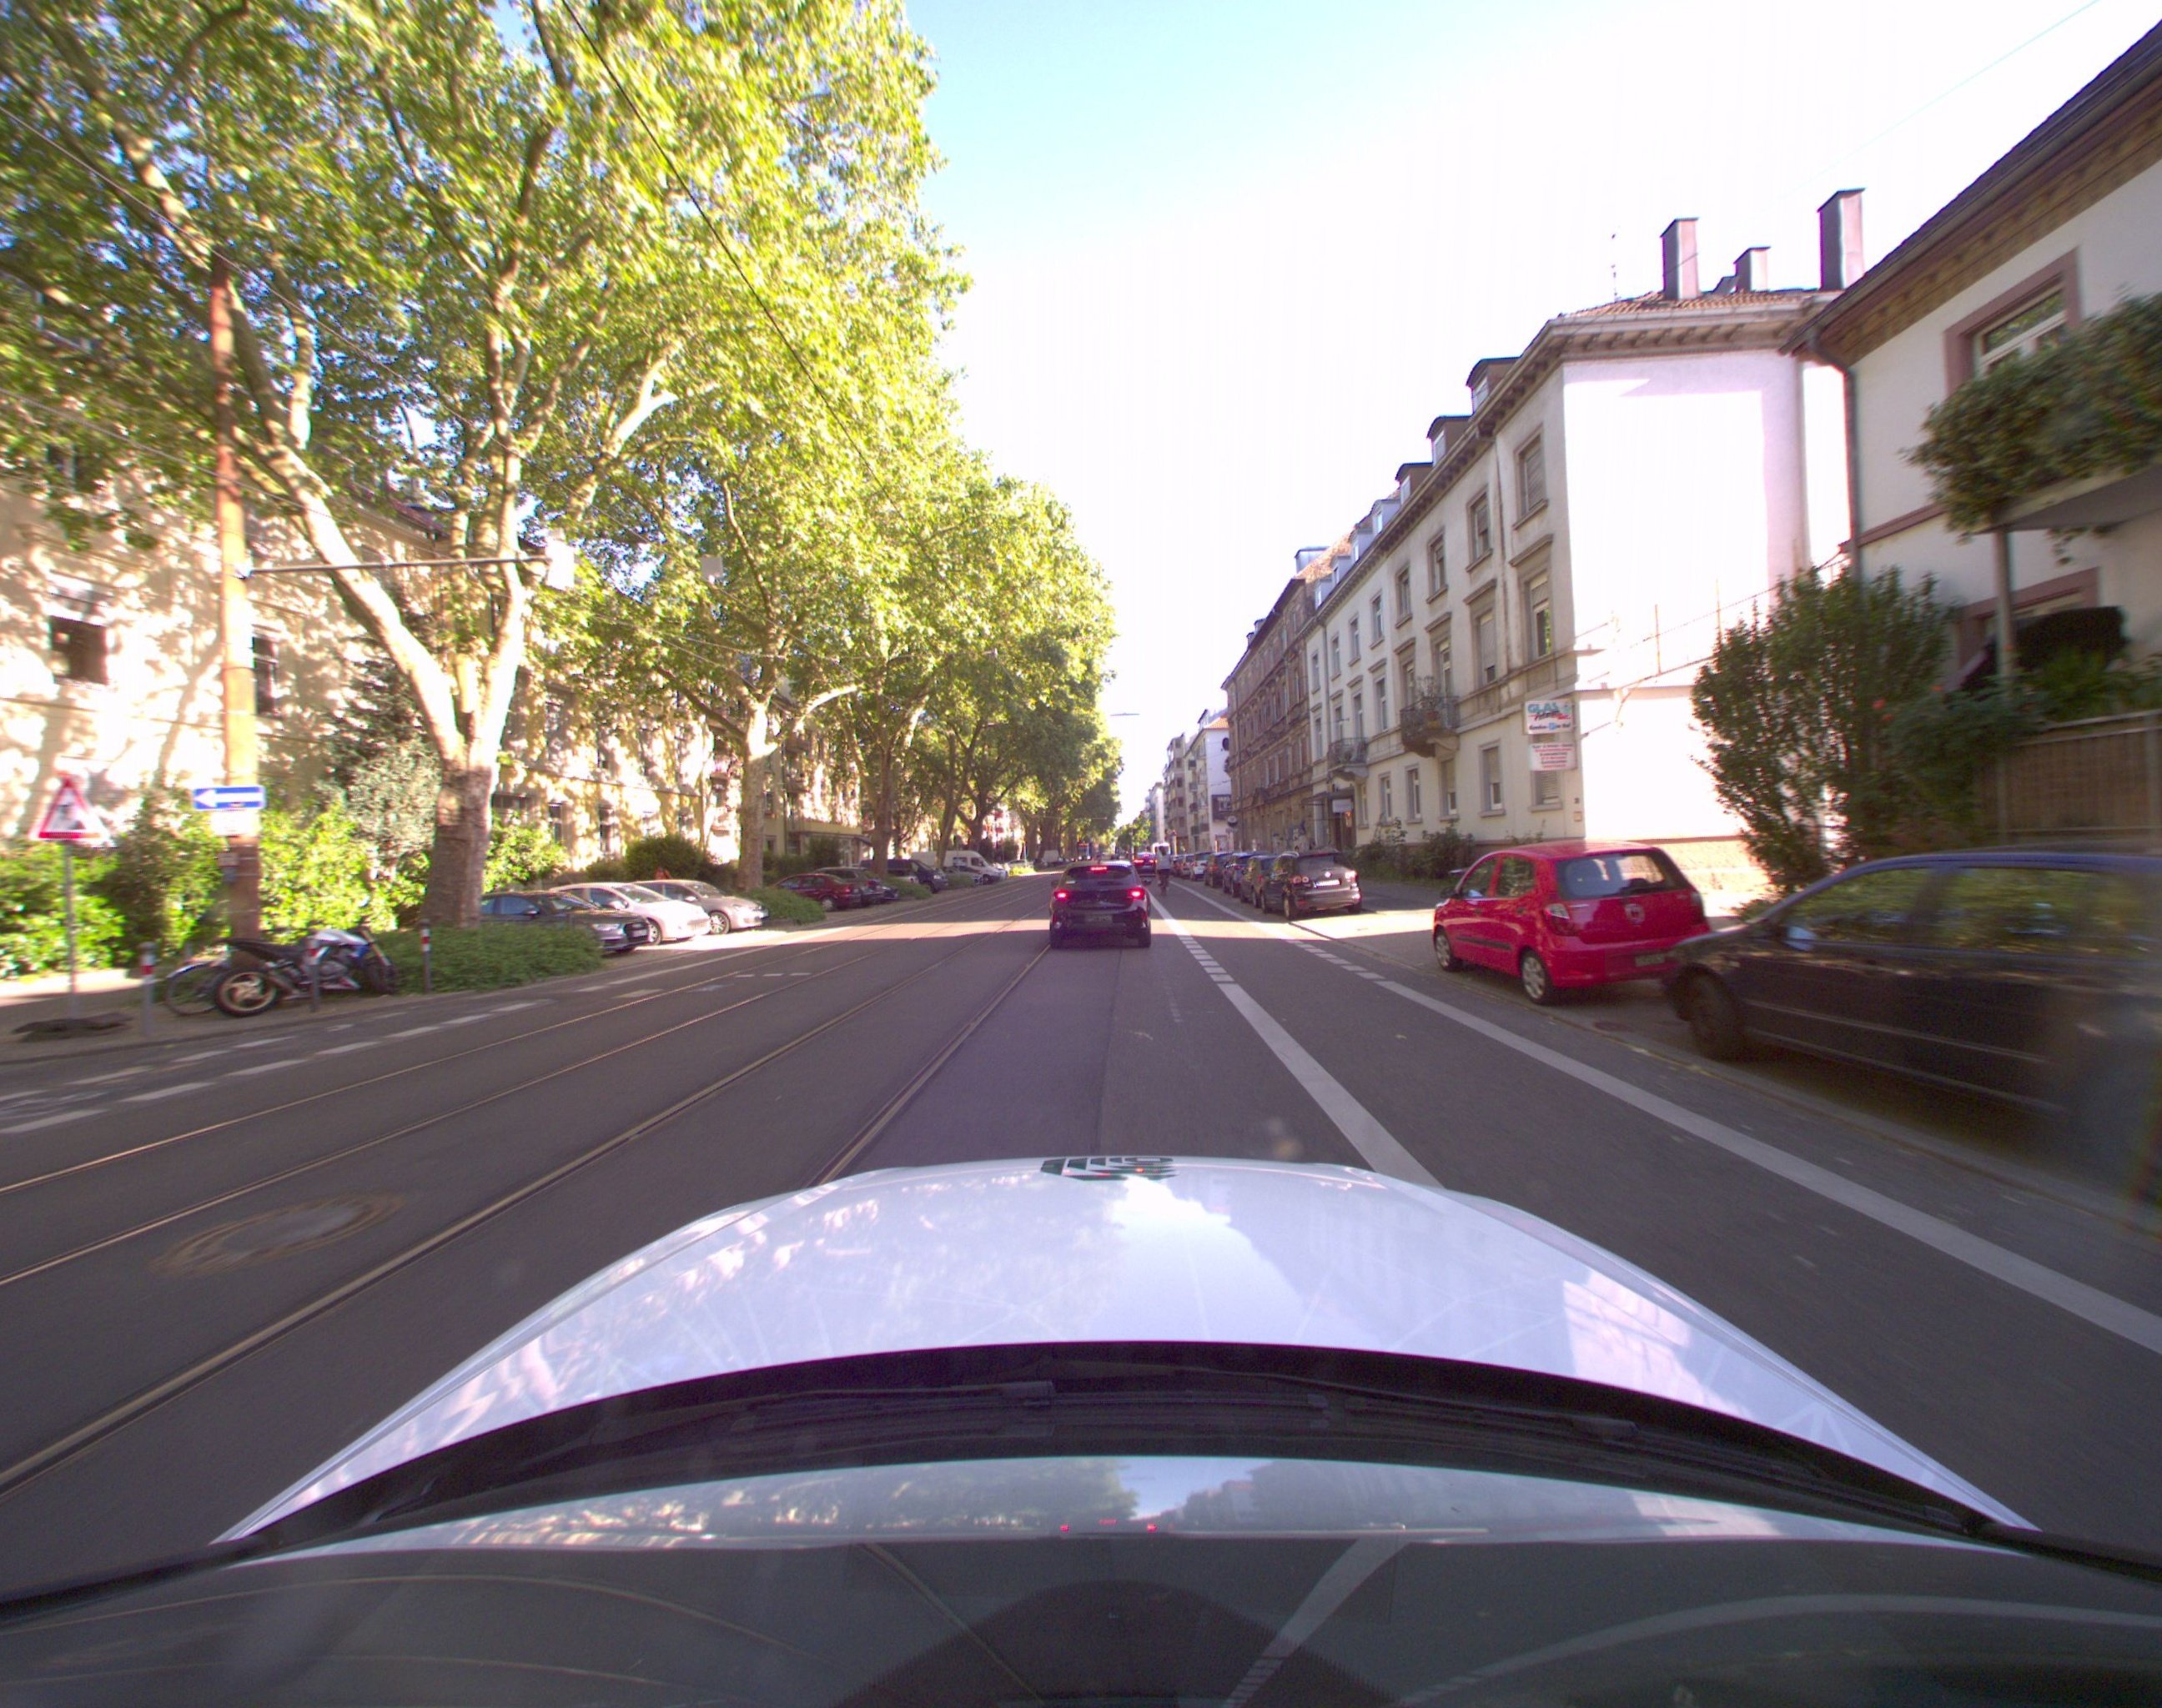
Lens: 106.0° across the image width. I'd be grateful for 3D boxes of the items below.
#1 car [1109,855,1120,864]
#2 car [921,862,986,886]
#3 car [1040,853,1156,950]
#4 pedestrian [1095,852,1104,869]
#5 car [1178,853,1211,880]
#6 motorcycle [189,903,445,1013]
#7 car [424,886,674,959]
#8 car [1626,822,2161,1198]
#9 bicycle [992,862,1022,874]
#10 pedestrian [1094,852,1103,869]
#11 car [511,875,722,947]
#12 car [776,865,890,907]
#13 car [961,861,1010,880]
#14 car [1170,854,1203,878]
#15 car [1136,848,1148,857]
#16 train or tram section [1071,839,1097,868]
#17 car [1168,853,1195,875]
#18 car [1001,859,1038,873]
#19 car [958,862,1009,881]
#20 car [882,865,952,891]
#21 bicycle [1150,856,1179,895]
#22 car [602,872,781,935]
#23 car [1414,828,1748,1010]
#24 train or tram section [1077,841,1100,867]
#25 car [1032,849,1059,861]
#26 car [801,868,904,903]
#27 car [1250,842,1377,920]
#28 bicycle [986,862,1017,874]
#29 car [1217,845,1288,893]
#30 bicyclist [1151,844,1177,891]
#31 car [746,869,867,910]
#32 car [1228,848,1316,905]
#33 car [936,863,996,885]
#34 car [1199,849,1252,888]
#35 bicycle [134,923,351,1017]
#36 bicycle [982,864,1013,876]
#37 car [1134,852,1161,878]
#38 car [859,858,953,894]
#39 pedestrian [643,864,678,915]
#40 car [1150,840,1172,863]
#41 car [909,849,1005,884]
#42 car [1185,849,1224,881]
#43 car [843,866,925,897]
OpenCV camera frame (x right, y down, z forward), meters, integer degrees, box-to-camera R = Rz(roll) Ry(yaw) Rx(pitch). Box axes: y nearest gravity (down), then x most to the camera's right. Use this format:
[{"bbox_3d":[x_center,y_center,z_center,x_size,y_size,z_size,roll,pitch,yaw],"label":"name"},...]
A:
[{"bbox_3d":[6.045,0.983,145.630,1.802,1.338,3.937,-2,0,4],"label":"car"},{"bbox_3d":[-8.432,1.326,54.053,3.903,1.498,1.679,-1,-1,3],"label":"car"},{"bbox_3d":[0.338,0.752,14.640,1.787,1.441,3.533,-2,0,2],"label":"car"},{"bbox_3d":[1.818,0.637,78.234,0.674,1.567,0.771,-2,-1,12],"label":"pedestrian"},{"bbox_3d":[6.848,0.732,49.479,1.696,1.456,3.703,-5,-1,6],"label":"car"},{"bbox_3d":[-9.952,1.302,10.795,0.879,1.147,2.397,-2,0,10],"label":"motorcycle"},{"bbox_3d":[-10.730,1.356,16.626,3.904,1.332,1.849,-1,-1,3],"label":"car"},{"bbox_3d":[5.128,0.598,4.549,1.644,1.456,3.871,-3,0,3],"label":"car"},{"bbox_3d":[-7.641,1.461,84.191,2.918,1.169,0.995,-2,-1,19],"label":"bicycle"},{"bbox_3d":[1.659,0.638,77.423,0.674,1.567,0.771,-2,-1,12],"label":"pedestrian"},{"bbox_3d":[-10.832,1.298,19.186,3.906,1.453,1.801,-2,-1,2],"label":"car"},{"bbox_3d":[-9.944,1.265,32.848,3.979,1.627,1.880,-1,-1,2],"label":"car"},{"bbox_3d":[-8.015,1.376,68.833,3.908,1.577,1.677,-1,-1,-1],"label":"car"},{"bbox_3d":[6.950,0.773,53.906,1.802,1.338,3.937,-5,-1,4],"label":"car"},{"bbox_3d":[10.319,-0.173,137.683,1.802,1.338,3.937,-5,-1,4],"label":"car"},{"bbox_3d":[0.475,-0.055,114.810,2.723,3.682,12.728,-3,0,4],"label":"train or tram section"},{"bbox_3d":[7.415,0.722,60.631,1.654,1.419,3.937,-5,-1,4],"label":"car"},{"bbox_3d":[-6.825,1.307,90.782,3.908,1.498,1.677,-1,-1,-1],"label":"car"},{"bbox_3d":[-7.899,1.425,66.378,3.908,1.498,1.677,-1,-1,-1],"label":"car"},{"bbox_3d":[-9.513,1.398,47.383,3.720,1.430,1.638,-1,-1,2],"label":"car"},{"bbox_3d":[3.133,0.786,30.667,0.857,1.407,2.525,-2,0,1],"label":"bicycle"},{"bbox_3d":[-10.456,1.311,22.039,3.904,1.462,1.807,-2,-1,2],"label":"car"},{"bbox_3d":[5.191,0.594,9.068,1.627,1.546,3.579,-3,0,4],"label":"car"},{"bbox_3d":[1.265,0.027,127.488,2.723,3.682,12.728,-3,0,4],"label":"train or tram section"},{"bbox_3d":[-5.303,0.144,121.237,3.908,1.790,1.677,-1,-1,-1],"label":"car"},{"bbox_3d":[-9.844,1.348,35.252,3.906,1.421,1.819,-1,-1,0],"label":"car"},{"bbox_3d":[5.662,0.623,20.374,1.875,1.586,3.931,-5,-1,-1],"label":"car"},{"bbox_3d":[-8.135,1.437,83.227,2.918,1.169,0.995,-2,-1,19],"label":"bicycle"},{"bbox_3d":[6.138,0.524,29.613,1.872,1.456,4.029,-5,-1,4],"label":"car"},{"bbox_3d":[3.122,0.506,30.755,0.845,1.740,1.162,-2,-1,1],"label":"bicyclist"},{"bbox_3d":[-10.251,1.325,30.609,3.904,1.442,1.750,-1,-1,2],"label":"car"},{"bbox_3d":[5.743,0.652,24.920,1.792,1.456,3.769,-5,-1,1],"label":"car"},{"bbox_3d":[-8.022,1.375,57.040,3.908,1.498,1.677,-1,-1,-1],"label":"car"},{"bbox_3d":[6.310,0.613,35.895,1.704,1.483,3.766,-5,-1,3],"label":"car"},{"bbox_3d":[-11.039,1.490,10.843,0.537,0.940,2.040,-2,0,10],"label":"bicycle"},{"bbox_3d":[-8.446,1.593,82.058,2.918,1.169,0.995,-2,-1,19],"label":"bicycle"},{"bbox_3d":[4.734,0.752,58.159,1.802,1.742,3.937,-2,0,4],"label":"car"},{"bbox_3d":[-9.554,1.196,44.679,4.655,1.924,1.982,-1,-1,3],"label":"car"},{"bbox_3d":[-15.739,1.321,30.492,0.863,1.849,0.836,-2,-1,-5],"label":"pedestrian"},{"bbox_3d":[8.530,-0.229,87.070,2.067,2.219,4.938,-5,-1,4],"label":"car"},{"bbox_3d":[-9.019,0.905,59.780,6.601,2.409,2.459,-1,-1,2],"label":"car"},{"bbox_3d":[6.698,0.601,44.426,1.562,1.517,3.040,-5,-1,0],"label":"car"},{"bbox_3d":[-10.073,1.394,41.764,3.720,1.498,1.747,-1,-1,2],"label":"car"}]
